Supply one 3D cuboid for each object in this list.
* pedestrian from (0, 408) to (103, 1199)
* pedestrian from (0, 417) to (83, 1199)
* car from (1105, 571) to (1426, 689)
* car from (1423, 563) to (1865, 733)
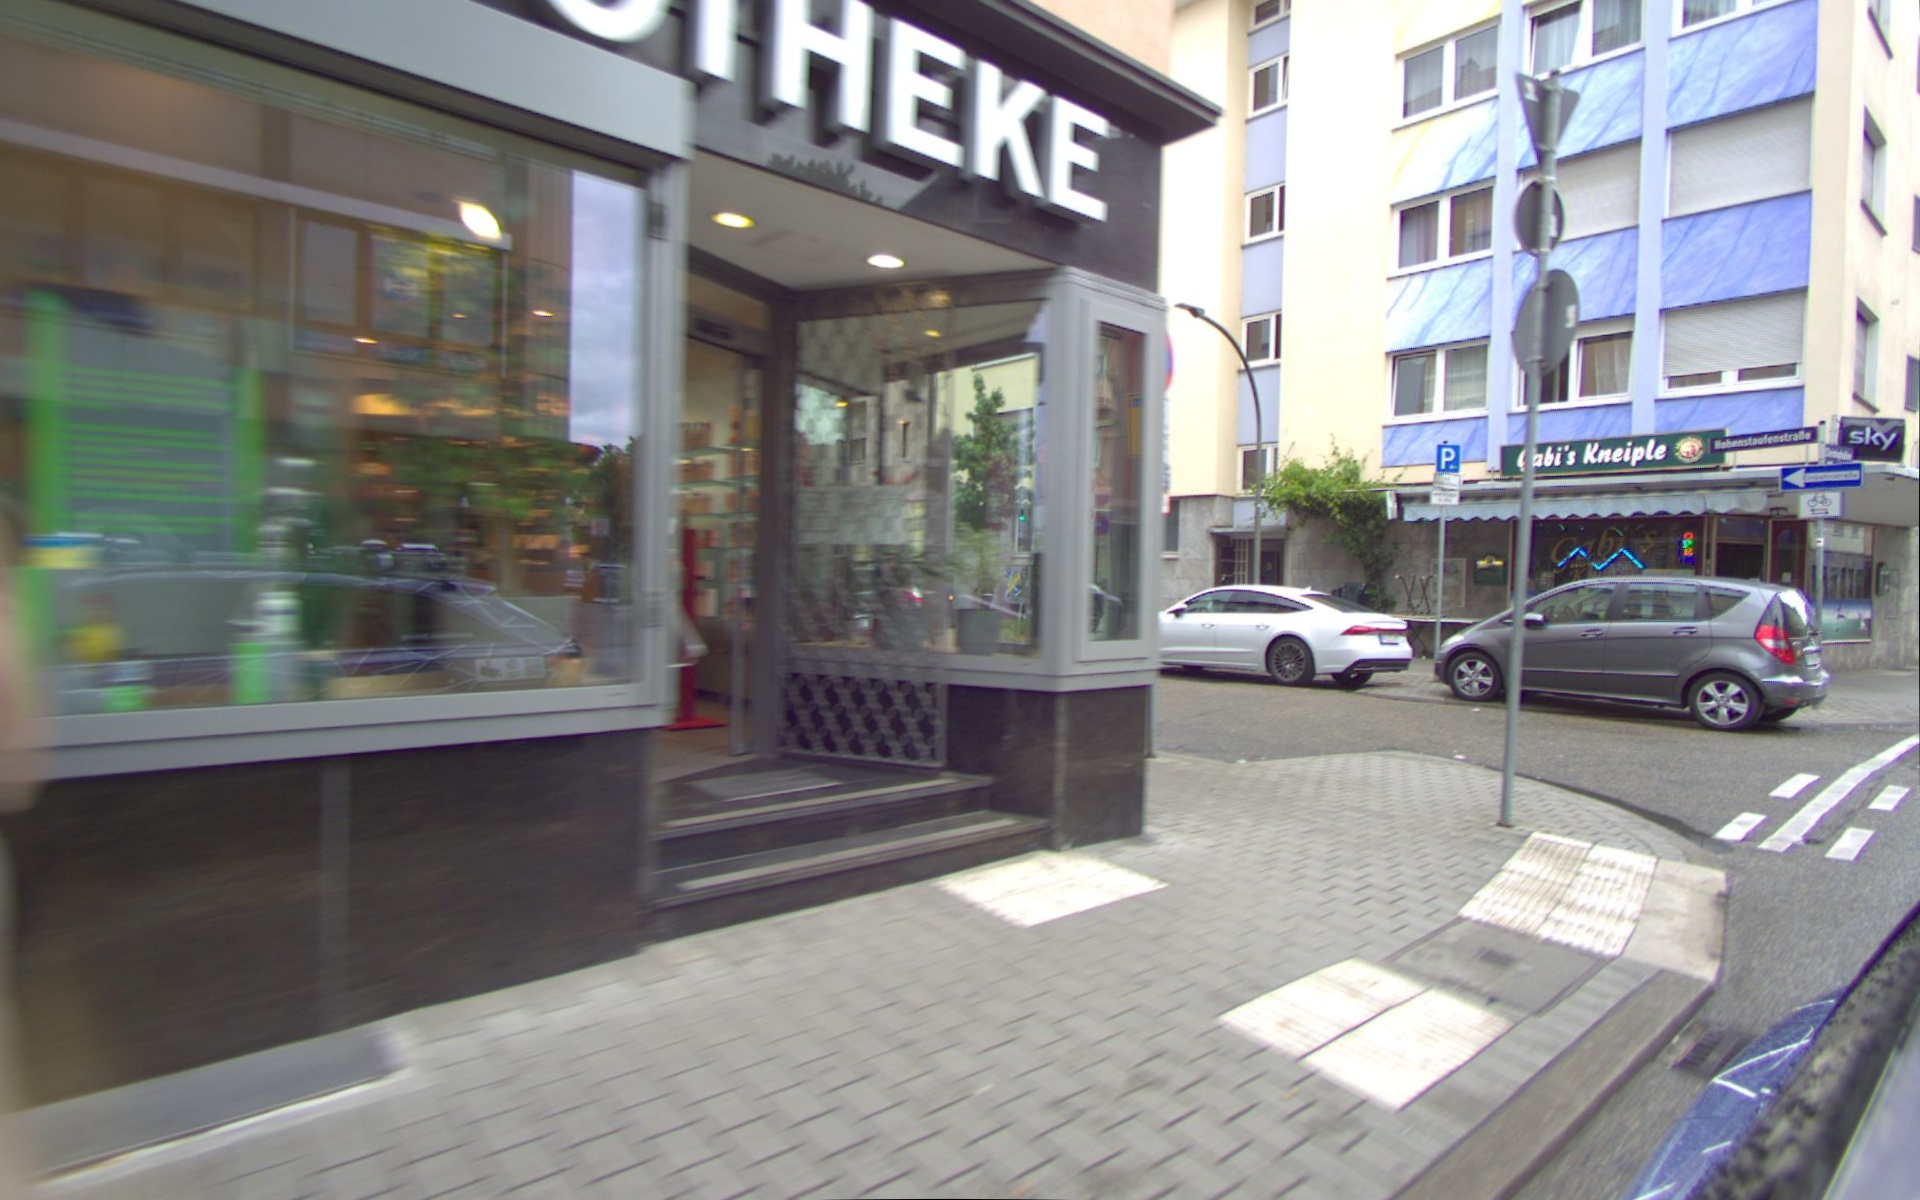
[{"bbox_3d":[-1.602,0.556,1.280,0.769,1.579,0.779,-1,2,-42],"label":"pedestrian"},{"bbox_3d":[-2.131,0.470,1.789,0.861,1.579,0.769,-1,2,-42],"label":"pedestrian"},{"bbox_3d":[4.472,0.327,15.448,1.754,1.460,4.491,-1,3,-38],"label":"car"},{"bbox_3d":[7.768,0.394,11.825,1.900,1.593,3.838,0,2,-35],"label":"car"}]
